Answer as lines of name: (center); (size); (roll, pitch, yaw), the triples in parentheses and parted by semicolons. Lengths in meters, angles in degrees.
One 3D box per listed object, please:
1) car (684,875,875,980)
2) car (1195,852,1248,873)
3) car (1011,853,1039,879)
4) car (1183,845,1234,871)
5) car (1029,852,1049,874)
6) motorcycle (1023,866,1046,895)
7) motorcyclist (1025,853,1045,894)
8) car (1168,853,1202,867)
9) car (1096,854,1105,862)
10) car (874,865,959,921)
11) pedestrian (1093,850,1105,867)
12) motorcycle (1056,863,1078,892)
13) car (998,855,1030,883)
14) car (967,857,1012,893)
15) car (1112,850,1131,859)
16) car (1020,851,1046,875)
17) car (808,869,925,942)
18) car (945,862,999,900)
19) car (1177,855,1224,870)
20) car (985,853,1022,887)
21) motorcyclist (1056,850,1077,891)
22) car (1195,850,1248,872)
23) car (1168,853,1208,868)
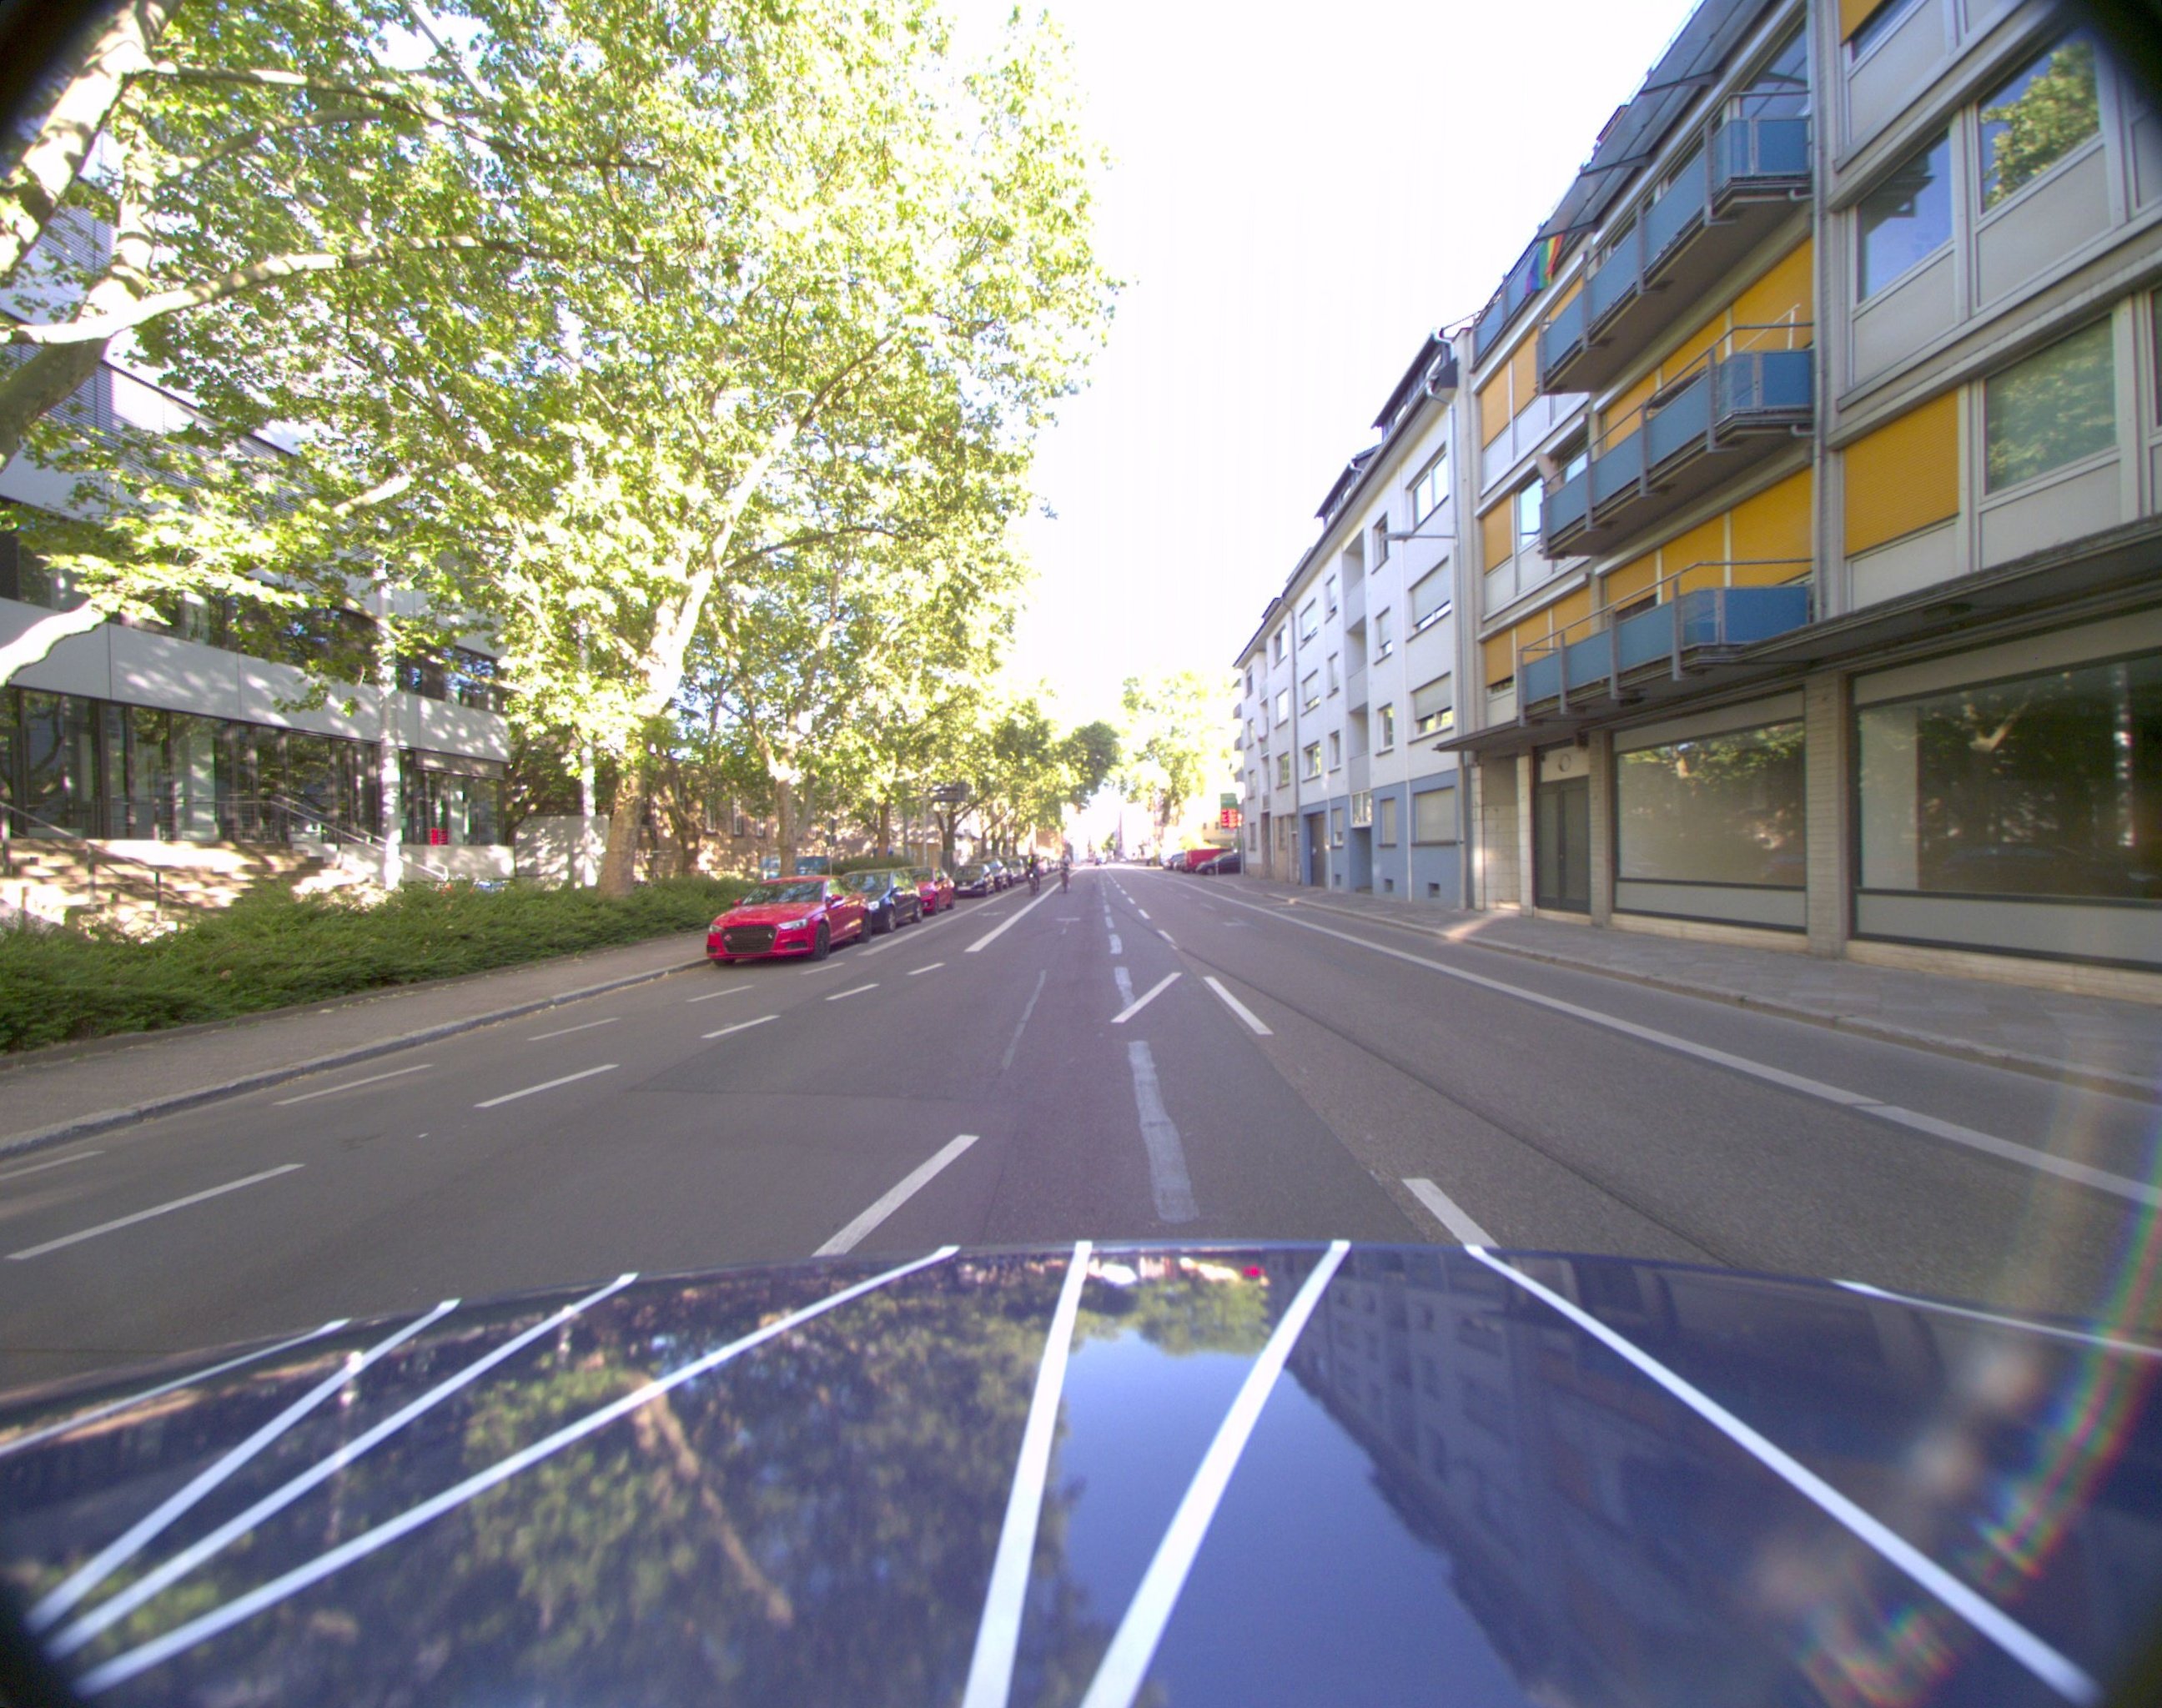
car: (-5.167, 1.183, 13.665); (1.794, 1.384, 3.999); (-2, 1, 0)
car: (10.087, 0.599, 54.736); (3.508, 1.380, 1.490); (-2, 1, 2)
car: (-4.041, 0.818, 55.247); (1.634, 1.725, 3.769); (-2, 1, 0)
car: (10.057, 0.330, 59.950); (3.688, 1.897, 1.490); (-2, -1, -1)
car: (-3.906, 0.809, 71.011); (1.599, 1.835, 3.769); (-2, 1, 0)
motorcycle: (-1.974, 1.117, 32.676); (0.799, 1.125, 2.236); (-2, 1, 1)
motorcyclist: (-1.970, 0.824, 32.681); (0.719, 1.733, 0.751); (-2, 1, 1)
car: (10.320, 0.591, 75.474); (3.271, 1.238, 1.345); (-2, 1, 2)
car: (3.736, 0.667, 144.502); (1.752, 1.423, 4.266); (-2, 0, 2)
car: (-5.019, 1.136, 23.692); (1.692, 1.441, 3.923); (-2, 1, 1)
pedestrian: (1.914, 0.481, 79.975); (0.894, 1.727, 0.827); (-3, 1, -41)
motorcycle: (-0.590, 1.033, 33.465); (0.865, 1.161, 1.929); (-2, 1, 1)
car: (-4.358, 0.943, 50.120); (1.634, 1.604, 4.576); (-2, 1, 0)
car: (-4.523, 0.995, 38.115); (1.634, 1.569, 4.231); (-2, 1, 0)
car: (9.250, 0.030, 174.141); (4.008, 2.002, 1.994); (-2, 1, -42)
car: (-4.173, 0.725, 66.099); (1.915, 1.940, 3.769); (-2, 1, 0)
car: (-5.056, 1.166, 18.419); (1.669, 1.410, 3.697); (-2, 1, 1)
car: (-4.698, 1.115, 33.244); (1.692, 1.414, 3.923); (-2, 1, 0)
car: (9.809, 0.702, 62.595); (3.687, 1.122, 1.345); (-2, 1, 2)
car: (-4.459, 0.857, 44.248); (1.634, 1.781, 4.576); (-2, 1, 0)
motorcyclist: (-0.614, 0.711, 33.511); (0.833, 1.778, 0.913); (-2, 1, 1)
car: (10.531, 0.494, 57.105); (3.687, 1.503, 1.490); (-2, 1, 2)
car: (10.265, 0.636, 73.037); (3.687, 1.238, 1.345); (-2, 1, 2)
